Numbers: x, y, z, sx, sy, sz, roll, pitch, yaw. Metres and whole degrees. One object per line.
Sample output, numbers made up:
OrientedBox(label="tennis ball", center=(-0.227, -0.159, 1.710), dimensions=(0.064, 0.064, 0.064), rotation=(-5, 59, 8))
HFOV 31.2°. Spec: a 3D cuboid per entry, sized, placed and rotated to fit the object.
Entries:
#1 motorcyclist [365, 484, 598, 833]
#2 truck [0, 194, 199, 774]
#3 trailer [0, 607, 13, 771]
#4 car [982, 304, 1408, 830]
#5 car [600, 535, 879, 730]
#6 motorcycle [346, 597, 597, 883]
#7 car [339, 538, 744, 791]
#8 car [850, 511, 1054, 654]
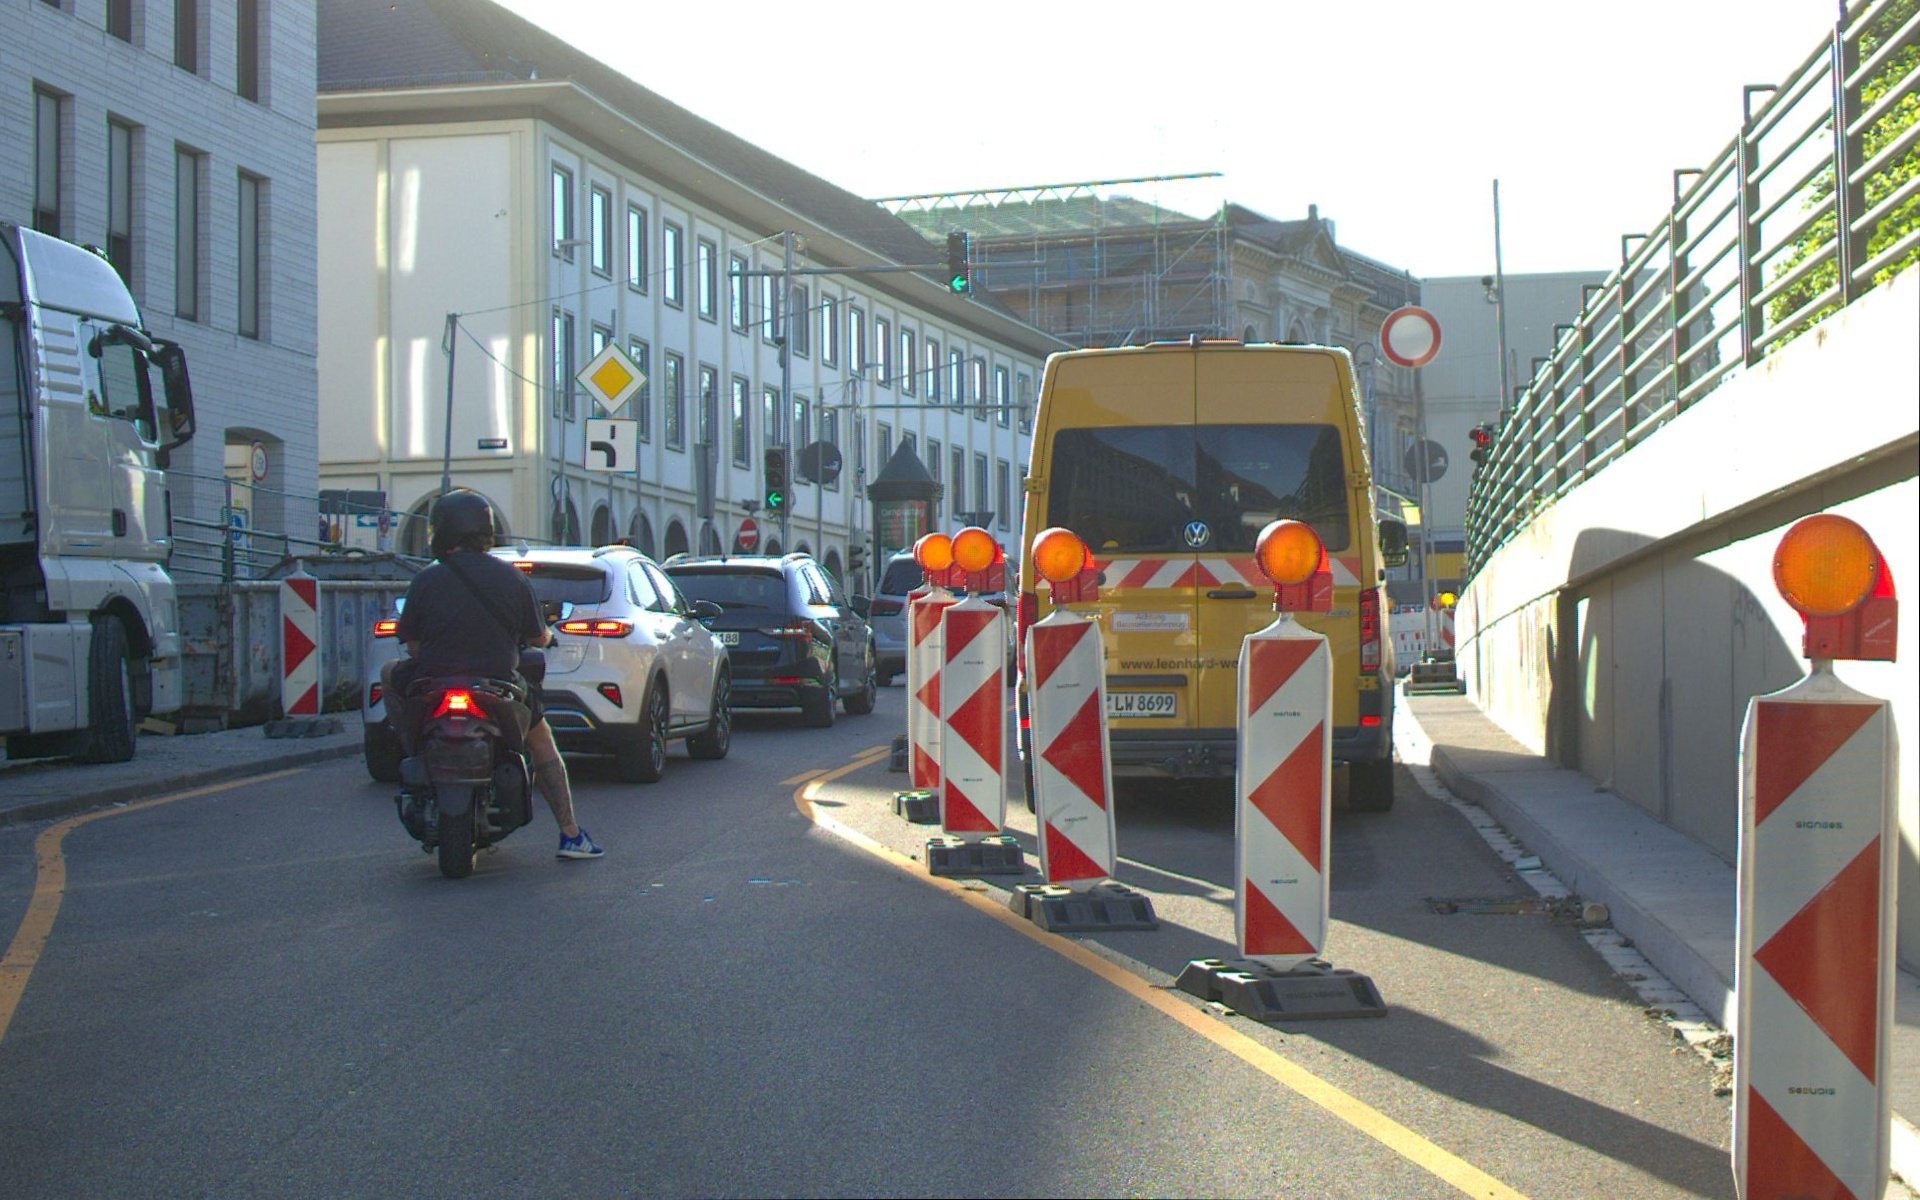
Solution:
OrientedBox(label="motorcyclist", center=(-2.200, 0.248, 15.953), dimensions=(0.954, 1.554, 1.239), rotation=(0, 1, -2))
OrientedBox(label="truck", center=(-6.969, -0.628, 20.927), dimensions=(2.580, 3.477, 5.814), rotation=(-4, 0, 6))
OrientedBox(label="trailer", center=(-7.510, -0.651, 16.481), dimensions=(2.642, 3.656, 8.747), rotation=(-4, 0, 5))
OrientedBox(label="car", center=(1.537, -0.191, 20.750), dimensions=(2.112, 2.616, 6.985), rotation=(-1, 0, 6))
OrientedBox(label="car", center=(-1.829, 0.302, 29.736), dimensions=(1.774, 1.545, 4.105), rotation=(-1, -1, 5))
OrientedBox(label="motorcycle", center=(-2.229, 0.599, 16.020), dimensions=(0.905, 1.179, 2.579), rotation=(0, 1, -2))
OrientedBox(label="car", center=(-2.646, 0.347, 22.656), dimensions=(1.859, 1.467, 4.000), rotation=(1, 1, 5))
OrientedBox(label="car", center=(-0.045, -0.238, 43.453), dimensions=(1.804, 1.715, 4.161), rotation=(0, 1, 11))
